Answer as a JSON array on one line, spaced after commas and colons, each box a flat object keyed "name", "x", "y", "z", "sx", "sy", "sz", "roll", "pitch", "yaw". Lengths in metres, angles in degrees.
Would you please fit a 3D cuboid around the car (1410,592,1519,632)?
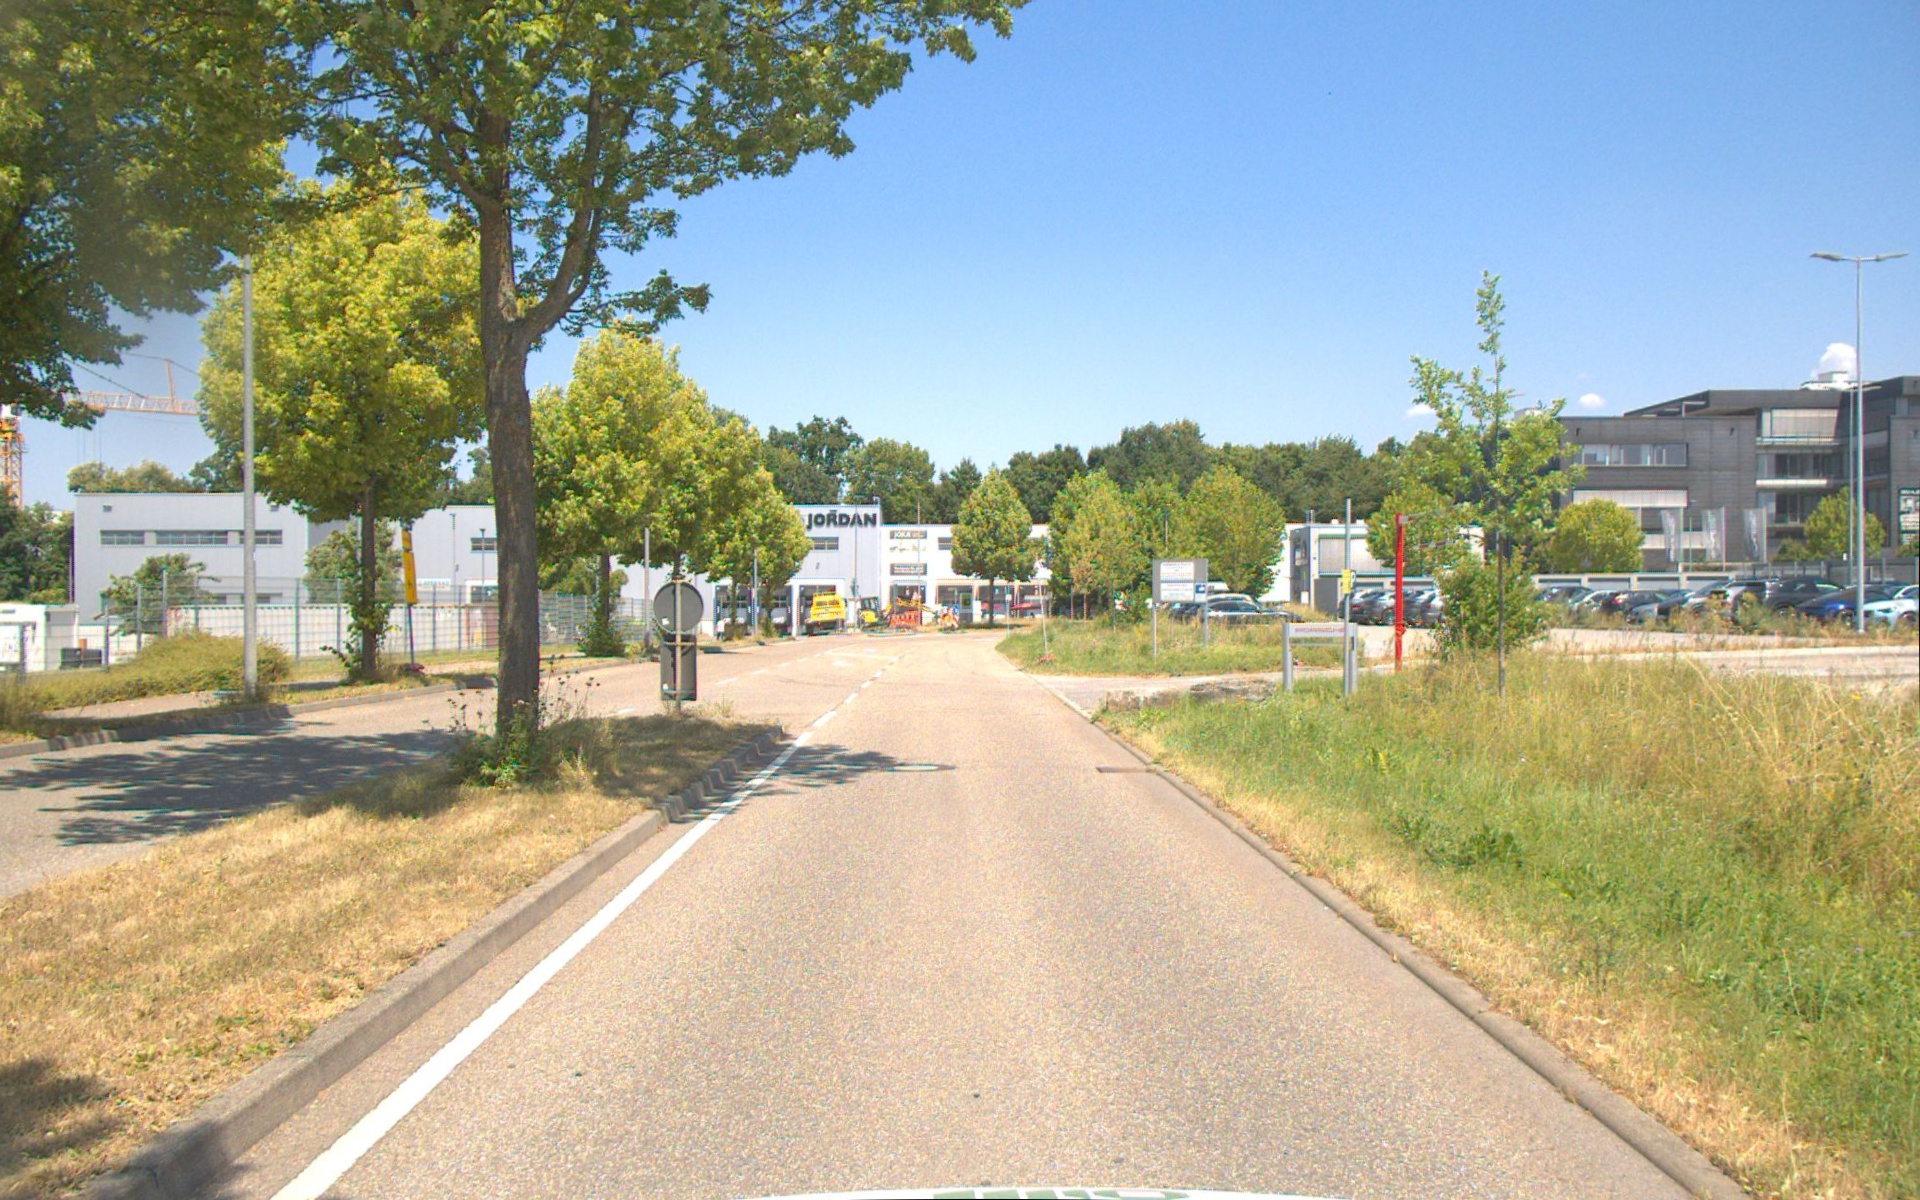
[{"name": "car", "x": 20.786, "y": 0.485, "z": 68.203, "sx": 3.908, "sy": 1.424, "sz": 1.768, "roll": -2, "pitch": 3, "yaw": -4}]

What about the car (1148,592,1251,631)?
[{"name": "car", "x": 10.288, "y": 0.494, "z": 71.241, "sx": 4.081, "sy": 1.424, "sz": 1.768, "roll": -2, "pitch": 3, "yaw": -4}]

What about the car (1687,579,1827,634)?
[{"name": "car", "x": 26.820, "y": 0.194, "z": 55.739, "sx": 3.908, "sy": 1.623, "sz": 1.768, "roll": -2, "pitch": 3, "yaw": -4}]

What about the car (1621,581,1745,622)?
[{"name": "car", "x": 26.970, "y": 0.046, "z": 61.758, "sx": 3.908, "sy": 1.293, "sz": 1.768, "roll": -2, "pitch": 3, "yaw": -4}]

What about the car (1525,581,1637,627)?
[{"name": "car", "x": 25.289, "y": 0.152, "z": 67.451, "sx": 3.908, "sy": 1.623, "sz": 1.768, "roll": -2, "pitch": 3, "yaw": -4}]

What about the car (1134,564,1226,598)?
[{"name": "car", "x": 10.582, "y": -0.940, "z": 79.602, "sx": 4.081, "sy": 1.424, "sz": 1.768, "roll": -2, "pitch": 3, "yaw": -4}]

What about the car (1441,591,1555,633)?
[{"name": "car", "x": 21.171, "y": 0.467, "z": 65.217, "sx": 3.907, "sy": 1.424, "sz": 1.768, "roll": -2, "pitch": 3, "yaw": -3}]

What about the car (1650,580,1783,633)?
[{"name": "car", "x": 26.714, "y": 0.221, "z": 58.446, "sx": 3.908, "sy": 1.623, "sz": 1.768, "roll": -2, "pitch": 3, "yaw": -4}]

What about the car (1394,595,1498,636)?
[{"name": "car", "x": 20.741, "y": 0.652, "z": 70.635, "sx": 3.908, "sy": 1.516, "sz": 1.768, "roll": -2, "pitch": 3, "yaw": -4}]

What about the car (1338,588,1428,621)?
[{"name": "car", "x": 20.749, "y": 0.208, "z": 81.215, "sx": 3.908, "sy": 1.424, "sz": 1.768, "roll": -2, "pitch": 3, "yaw": -4}]

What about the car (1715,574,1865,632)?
[{"name": "car", "x": 26.463, "y": 0.083, "z": 52.785, "sx": 3.908, "sy": 1.623, "sz": 1.860, "roll": -2, "pitch": 3, "yaw": -4}]

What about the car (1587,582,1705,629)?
[{"name": "car", "x": 26.775, "y": 0.193, "z": 64.636, "sx": 3.908, "sy": 1.623, "sz": 1.768, "roll": -2, "pitch": 3, "yaw": -4}]

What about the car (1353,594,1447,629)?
[{"name": "car", "x": 20.769, "y": 0.534, "z": 78.096, "sx": 3.908, "sy": 1.424, "sz": 1.768, "roll": -2, "pitch": 3, "yaw": -4}]

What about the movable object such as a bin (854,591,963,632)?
[{"name": "movable object such as a bin", "x": -3.720, "y": 0.818, "z": 120.967, "sx": 7.366, "sy": 2.543, "sz": 3.670, "roll": -1, "pitch": 3, "yaw": 7}]

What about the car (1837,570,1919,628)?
[{"name": "car", "x": 26.831, "y": -0.072, "z": 46.102, "sx": 3.908, "sy": 1.417, "sz": 1.768, "roll": -2, "pitch": 3, "yaw": -4}]

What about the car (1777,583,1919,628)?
[{"name": "car", "x": 26.988, "y": 0.144, "z": 49.828, "sx": 3.908, "sy": 1.128, "sz": 1.768, "roll": -2, "pitch": 3, "yaw": -4}]

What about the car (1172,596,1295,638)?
[{"name": "car", "x": 10.826, "y": 0.676, "z": 65.699, "sx": 4.606, "sy": 1.424, "sz": 1.922, "roll": -2, "pitch": 3, "yaw": 1}]

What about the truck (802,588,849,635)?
[{"name": "truck", "x": -9.788, "y": 0.793, "z": 120.251, "sx": 2.884, "sy": 2.935, "sz": 5.799, "roll": -2, "pitch": 3, "yaw": -9}]
